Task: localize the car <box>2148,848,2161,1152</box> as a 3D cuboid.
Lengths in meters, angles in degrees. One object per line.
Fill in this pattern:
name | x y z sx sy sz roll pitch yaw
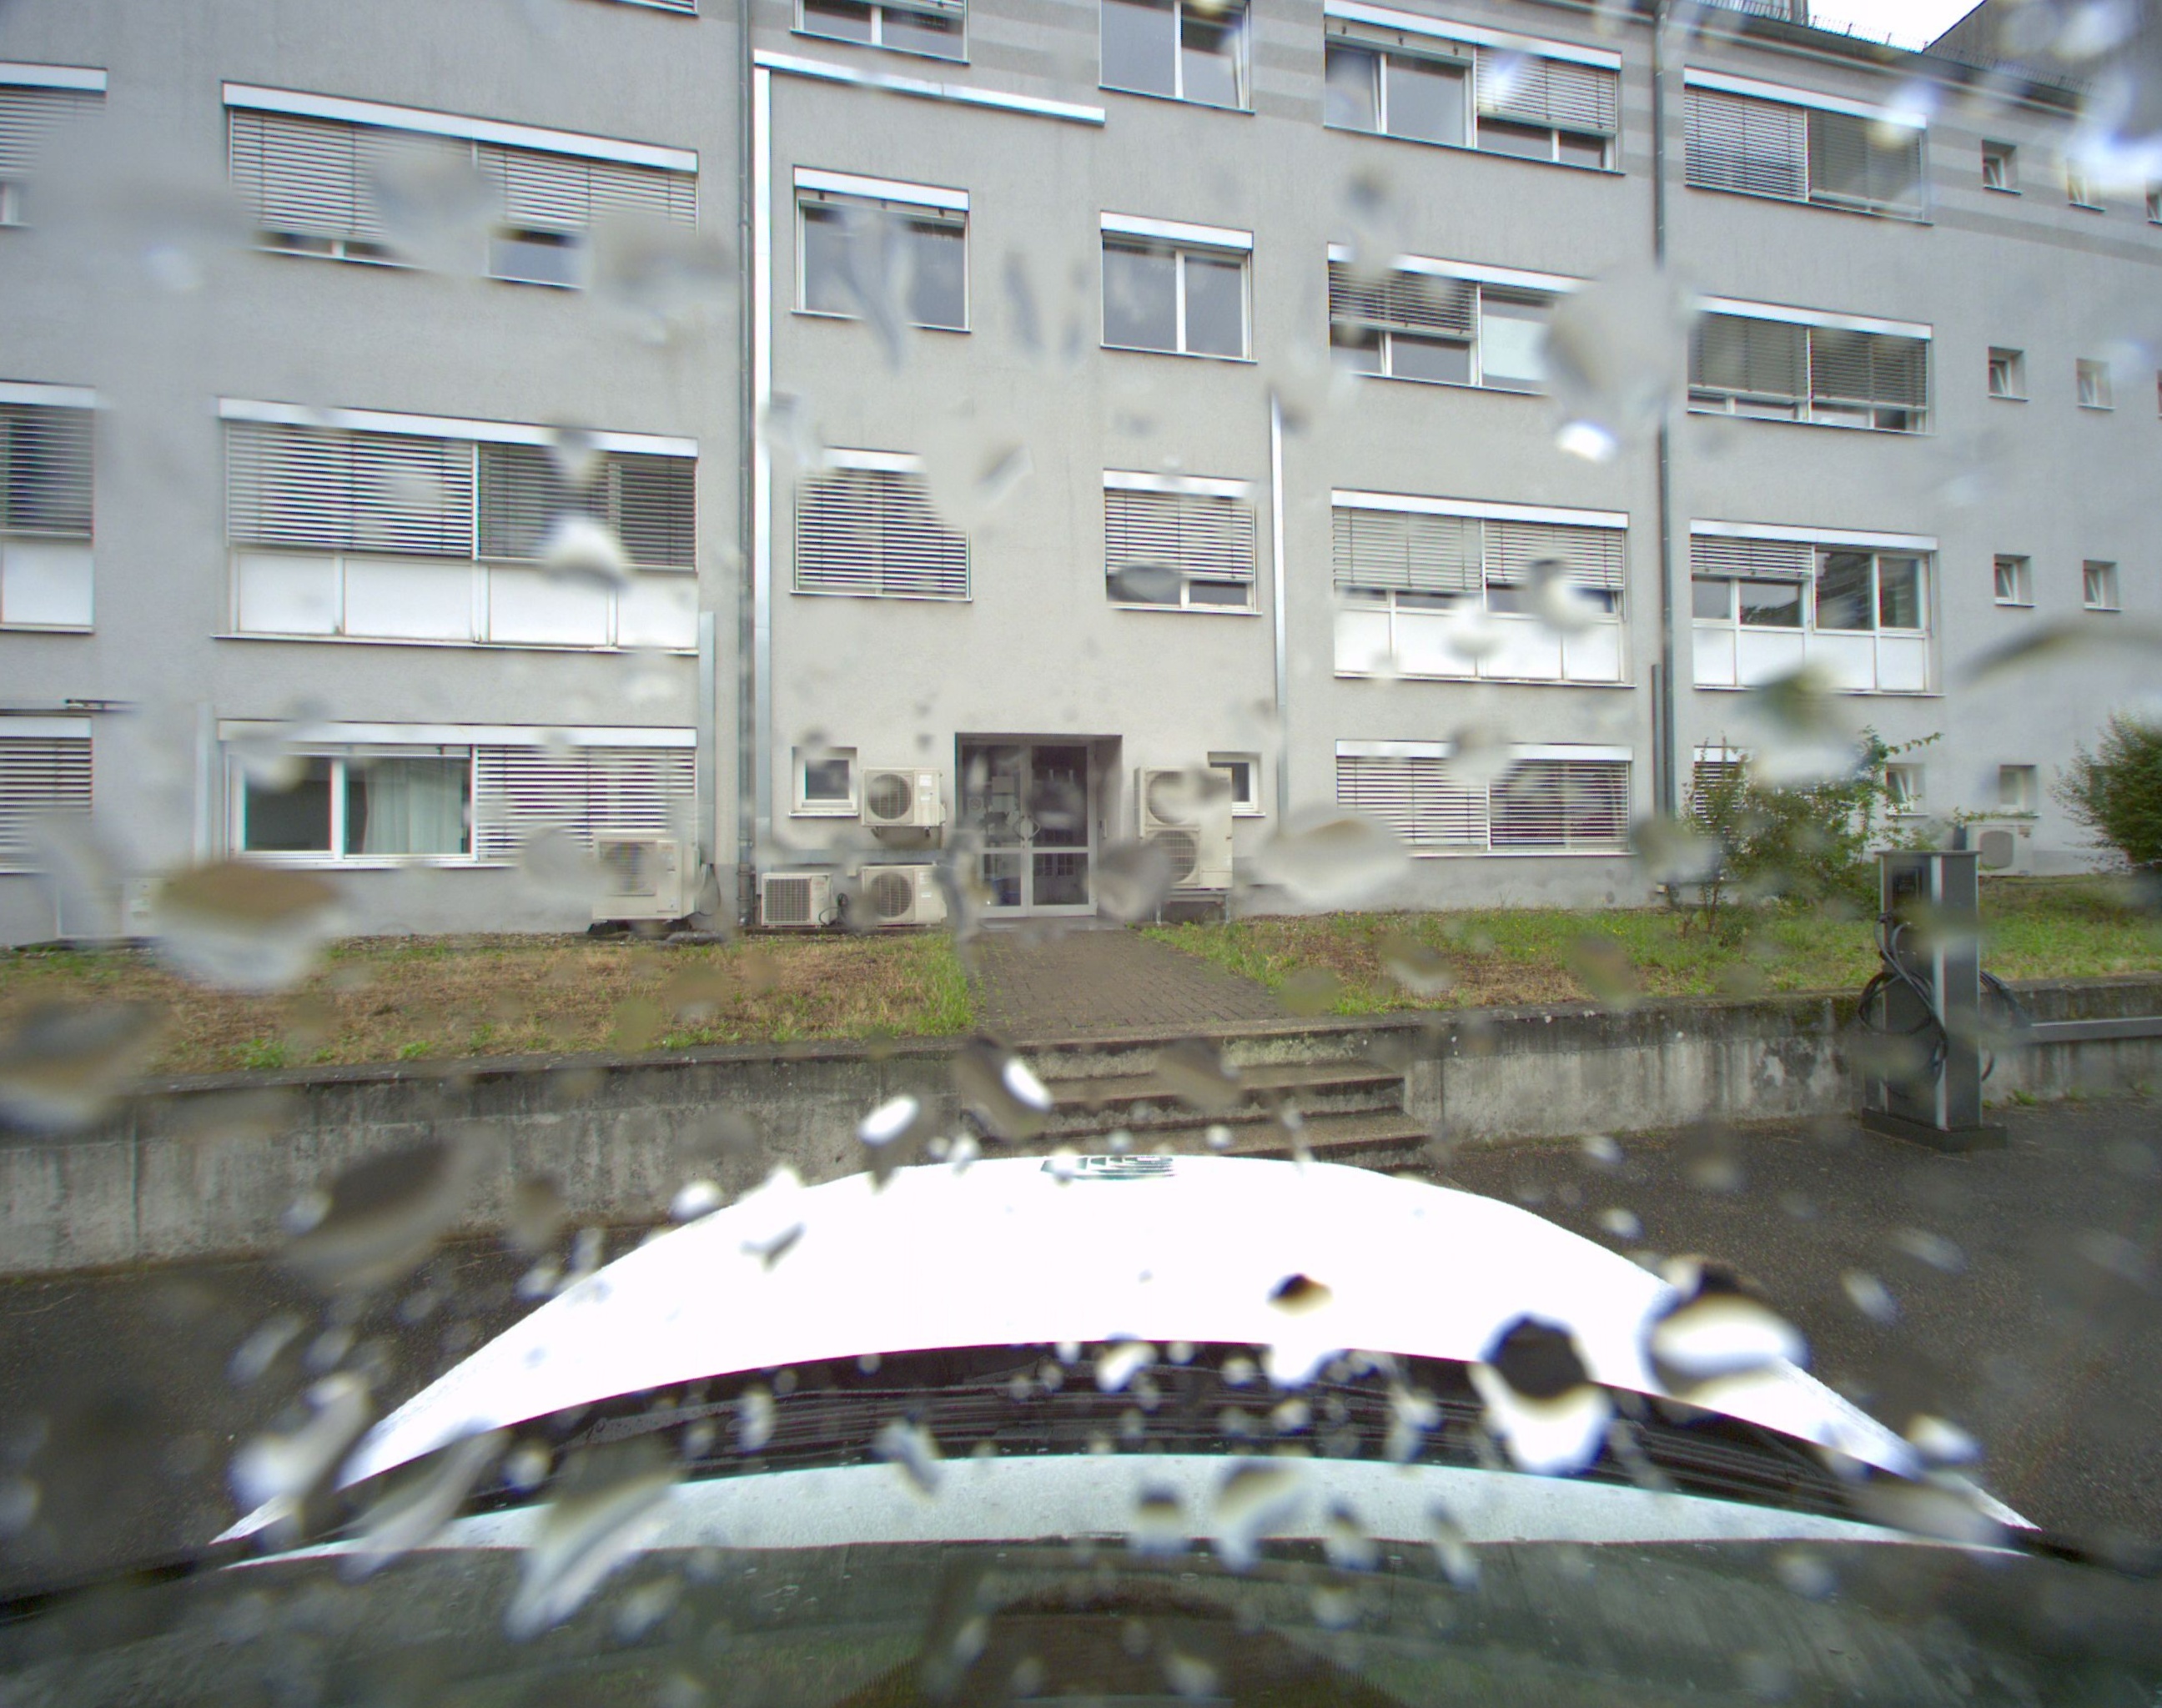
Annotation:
car | 6.534 0.685 2.074 1.992 1.490 4.210 0 -1 -7
